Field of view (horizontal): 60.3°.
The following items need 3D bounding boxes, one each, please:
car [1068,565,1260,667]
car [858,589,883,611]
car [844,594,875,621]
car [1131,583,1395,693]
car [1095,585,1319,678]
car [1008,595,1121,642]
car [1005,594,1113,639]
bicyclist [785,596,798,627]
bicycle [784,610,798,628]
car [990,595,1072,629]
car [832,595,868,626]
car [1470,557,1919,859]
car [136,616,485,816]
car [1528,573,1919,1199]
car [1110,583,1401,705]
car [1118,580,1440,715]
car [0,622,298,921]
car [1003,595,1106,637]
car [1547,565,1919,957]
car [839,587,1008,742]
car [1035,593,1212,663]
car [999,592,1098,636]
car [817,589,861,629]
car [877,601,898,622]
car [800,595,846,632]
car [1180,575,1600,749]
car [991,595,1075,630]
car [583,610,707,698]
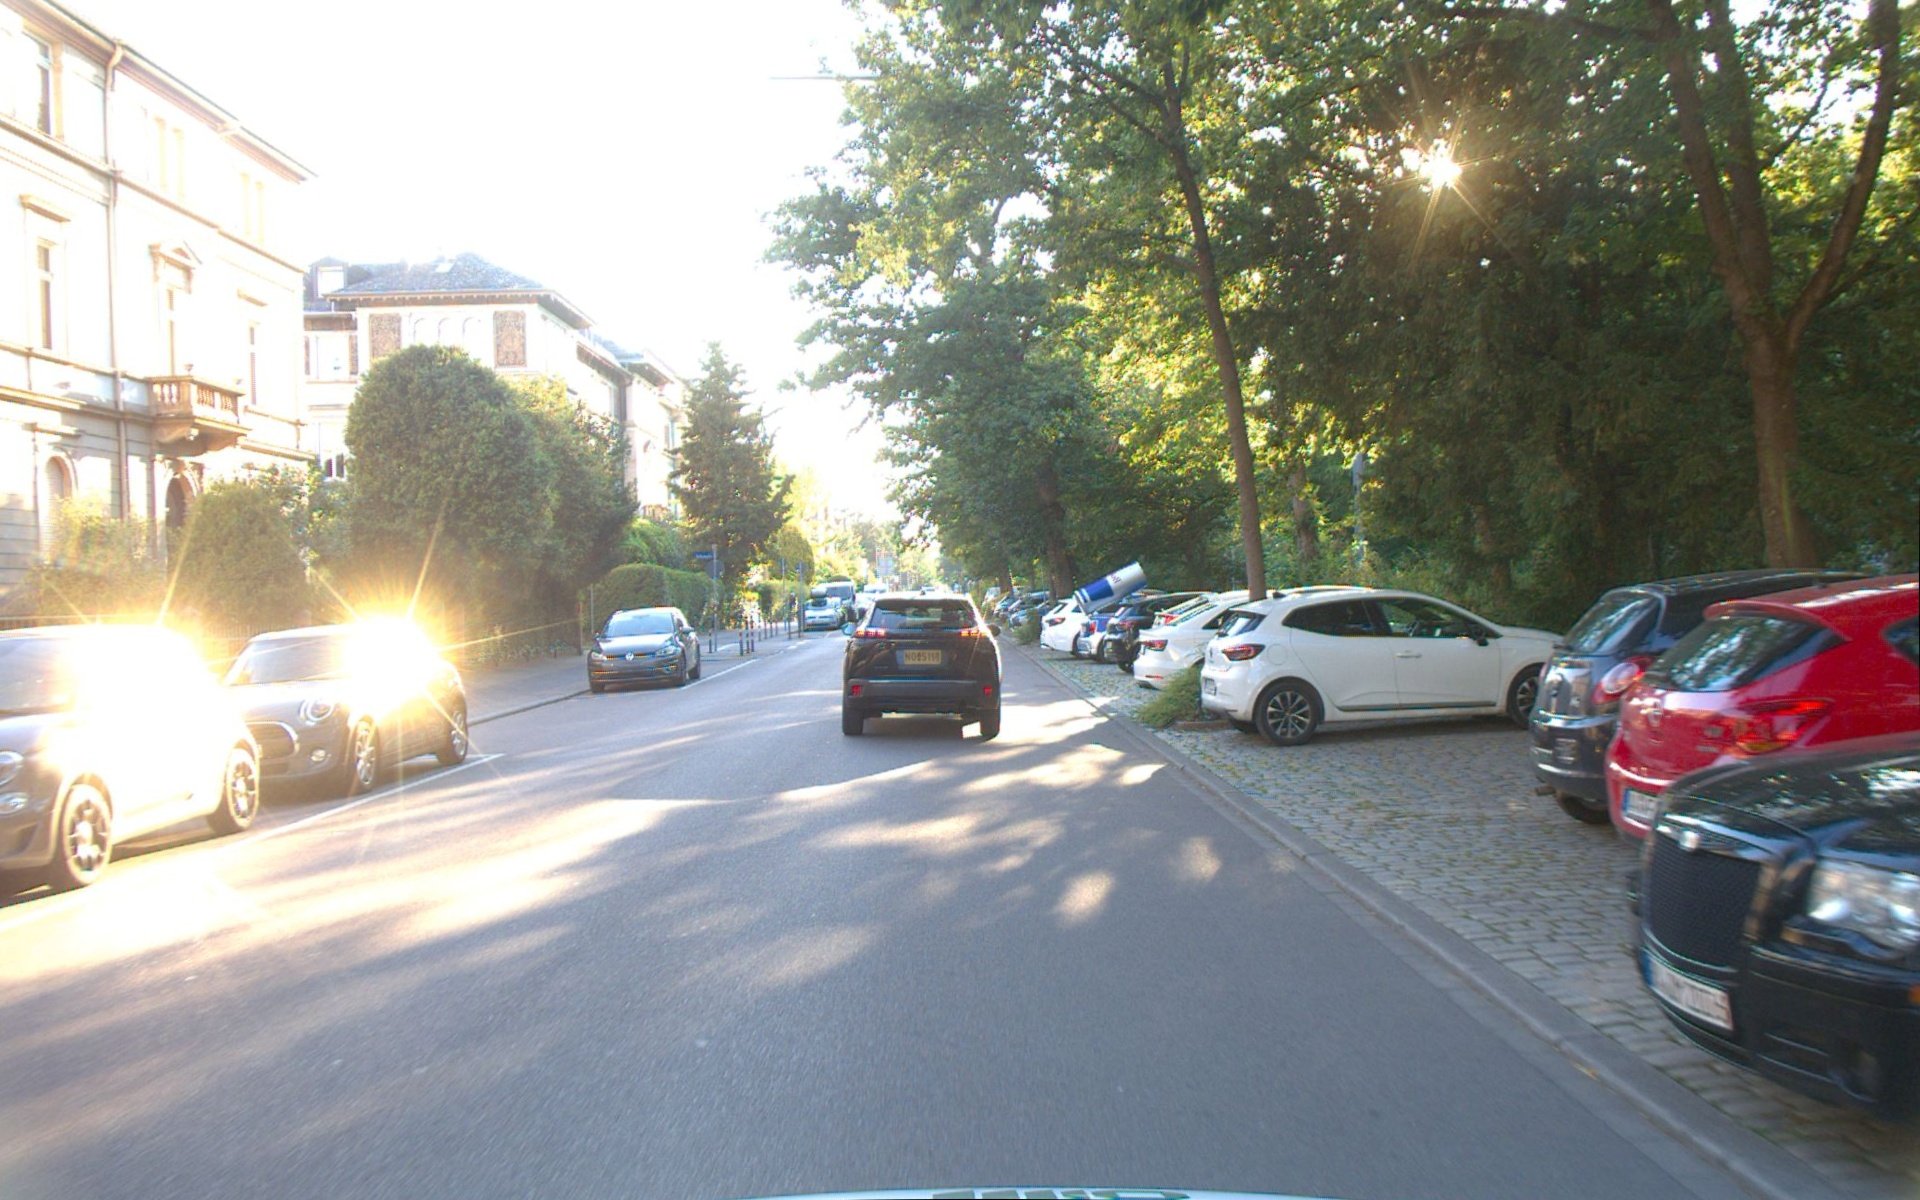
[{"bbox_3d":[4.484,0.337,36.647,3.910,2.126,1.756,-1,0,-6],"label":"car"},{"bbox_3d":[-7.478,0.001,138.445,1.953,1.847,3.999,-1,0,-1],"label":"car"},{"bbox_3d":[-6.978,0.528,115.376,1.953,1.847,3.999,-1,0,-1],"label":"car"},{"bbox_3d":[4.908,0.592,27.092,3.910,1.653,1.756,-1,0,-6],"label":"car"},{"bbox_3d":[4.681,0.583,31.647,3.910,1.653,1.756,-1,0,-6],"label":"car"},{"bbox_3d":[3.696,0.649,59.056,3.905,1.552,1.758,-1,0,0],"label":"car"},{"bbox_3d":[3.657,0.606,61.587,3.905,1.552,1.758,-1,0,0],"label":"car"},{"bbox_3d":[-9.792,0.658,96.109,0.679,1.823,0.772,-1,0,-4],"label":"bicyclist"},{"bbox_3d":[-9.801,1.087,96.008,0.678,1.033,2.047,-1,0,-4],"label":"bicycle"},{"bbox_3d":[3.444,0.586,80.705,3.905,1.552,1.758,-1,0,0],"label":"car"},{"bbox_3d":[-6.629,0.603,99.603,1.953,1.799,3.999,-1,0,-1],"label":"car"},{"bbox_3d":[5.295,0.544,10.065,3.734,1.536,1.824,-3,0,-5],"label":"car"},{"bbox_3d":[-5.733,0.937,15.151,1.581,1.492,4.035,-2,0,0],"label":"car"},{"bbox_3d":[4.087,0.602,4.734,4.158,1.474,2.020,-3,0,-3],"label":"car"},{"bbox_3d":[4.325,0.619,24.530,3.910,1.653,1.756,-1,0,-6],"label":"car"},{"bbox_3d":[4.228,0.610,22.257,3.910,1.653,1.756,-1,0,-6],"label":"car"},{"bbox_3d":[-5.750,0.934,10.329,1.581,1.492,4.035,-2,0,0],"label":"car"},{"bbox_3d":[3.669,0.612,64.453,3.905,1.552,1.758,-1,0,0],"label":"car"},{"bbox_3d":[4.919,0.559,7.549,3.734,1.474,1.875,-3,0,-5],"label":"car"},{"bbox_3d":[-0.506,0.665,19.368,1.736,1.596,4.106,1,0,-4],"label":"car"},{"bbox_3d":[3.854,0.647,39.315,3.910,1.552,1.756,-1,0,-6],"label":"car"},{"bbox_3d":[3.548,0.559,66.690,3.905,1.652,1.758,-1,0,0],"label":"car"},{"bbox_3d":[-6.393,0.476,87.735,1.953,2.049,4.000,-1,0,0],"label":"car"},{"bbox_3d":[-6.865,1.072,156.923,1.953,1.847,3.999,-1,0,-1],"label":"car"},{"bbox_3d":[-6.350,0.611,77.042,1.861,1.601,3.999,-1,0,-1],"label":"car"},{"bbox_3d":[4.325,0.598,16.987,3.734,1.474,1.824,-3,0,-5],"label":"car"},{"bbox_3d":[3.432,0.588,78.271,3.905,1.552,1.758,-1,0,0],"label":"car"},{"bbox_3d":[-5.985,0.981,31.809,1.717,1.438,3.762,-3,0,-2],"label":"car"}]
